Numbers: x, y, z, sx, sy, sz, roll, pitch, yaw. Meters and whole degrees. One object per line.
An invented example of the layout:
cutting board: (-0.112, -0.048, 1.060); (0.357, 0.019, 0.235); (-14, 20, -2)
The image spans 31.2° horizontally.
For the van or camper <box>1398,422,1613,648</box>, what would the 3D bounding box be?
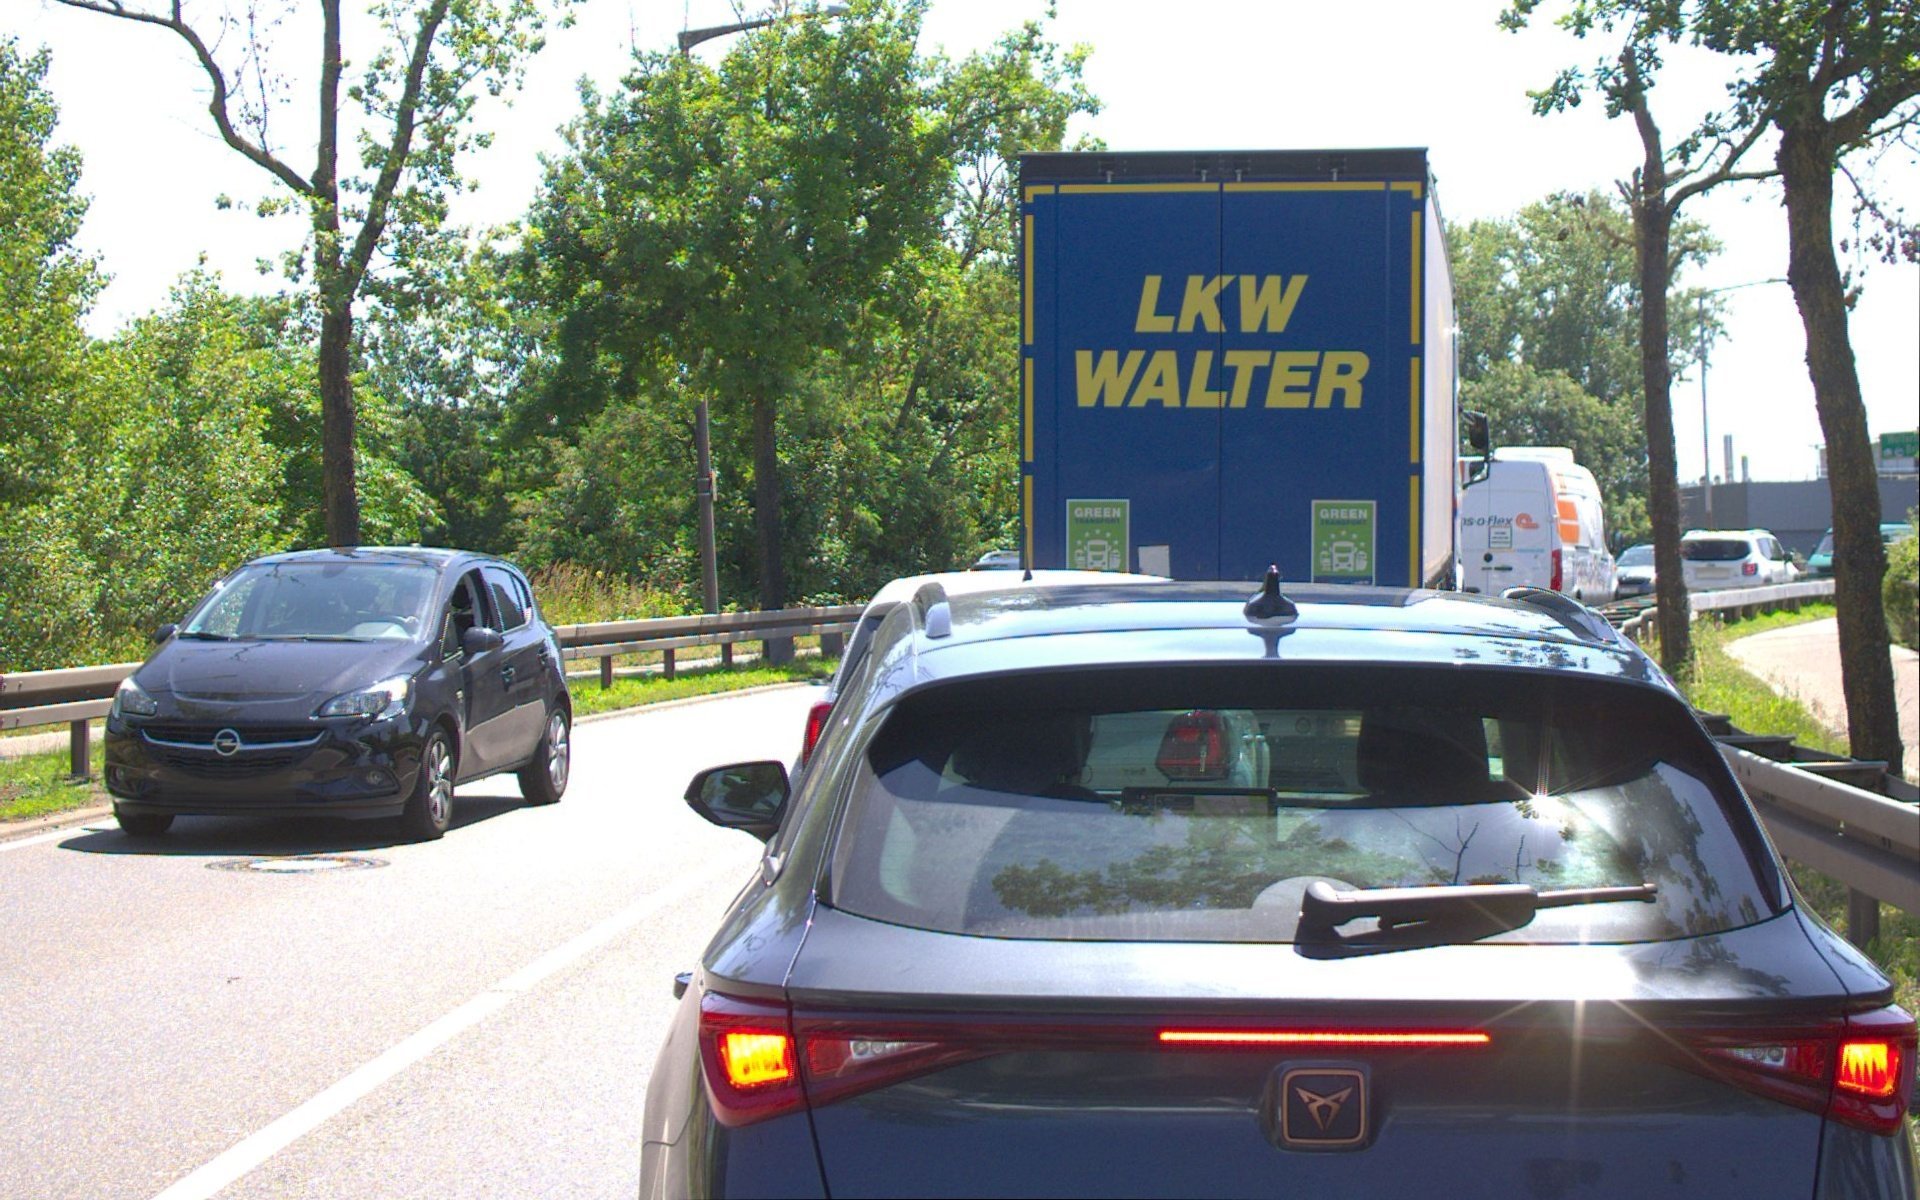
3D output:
van or camper: (7.836, -0.911, 48.883); (2.468, 2.988, 6.082); (1, 1, 14)

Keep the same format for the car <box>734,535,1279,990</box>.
car: (0.197, 0.514, 13.520); (1.809, 1.503, 4.000); (1, 1, 1)

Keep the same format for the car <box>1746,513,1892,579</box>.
car: (22.358, -1.390, 89.383); (2.134, 1.675, 4.870); (1, 1, 34)

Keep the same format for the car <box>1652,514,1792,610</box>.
car: (14.242, -0.715, 64.068); (1.995, 1.706, 4.616); (1, 1, 19)

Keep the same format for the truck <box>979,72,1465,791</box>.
truck: (2.833, -1.165, 29.720); (2.951, 4.433, 16.793); (1, 1, 8)

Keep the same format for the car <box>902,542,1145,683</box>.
car: (0.764, 0.087, 37.725); (1.861, 1.416, 4.255); (1, 1, 12)

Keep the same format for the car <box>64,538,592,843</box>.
car: (-3.298, 0.414, 18.676); (1.671, 1.461, 3.819); (1, 1, 8)

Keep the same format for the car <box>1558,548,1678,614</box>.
car: (14.578, -0.430, 76.001); (1.859, 1.391, 4.401); (1, 1, 21)

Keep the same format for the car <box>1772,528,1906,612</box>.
car: (19.727, -0.670, 77.024); (1.996, 1.802, 4.839); (1, 1, 25)

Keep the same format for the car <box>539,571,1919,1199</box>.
car: (0.415, 0.689, 5.607); (1.744, 1.427, 3.880); (1, 1, 0)
